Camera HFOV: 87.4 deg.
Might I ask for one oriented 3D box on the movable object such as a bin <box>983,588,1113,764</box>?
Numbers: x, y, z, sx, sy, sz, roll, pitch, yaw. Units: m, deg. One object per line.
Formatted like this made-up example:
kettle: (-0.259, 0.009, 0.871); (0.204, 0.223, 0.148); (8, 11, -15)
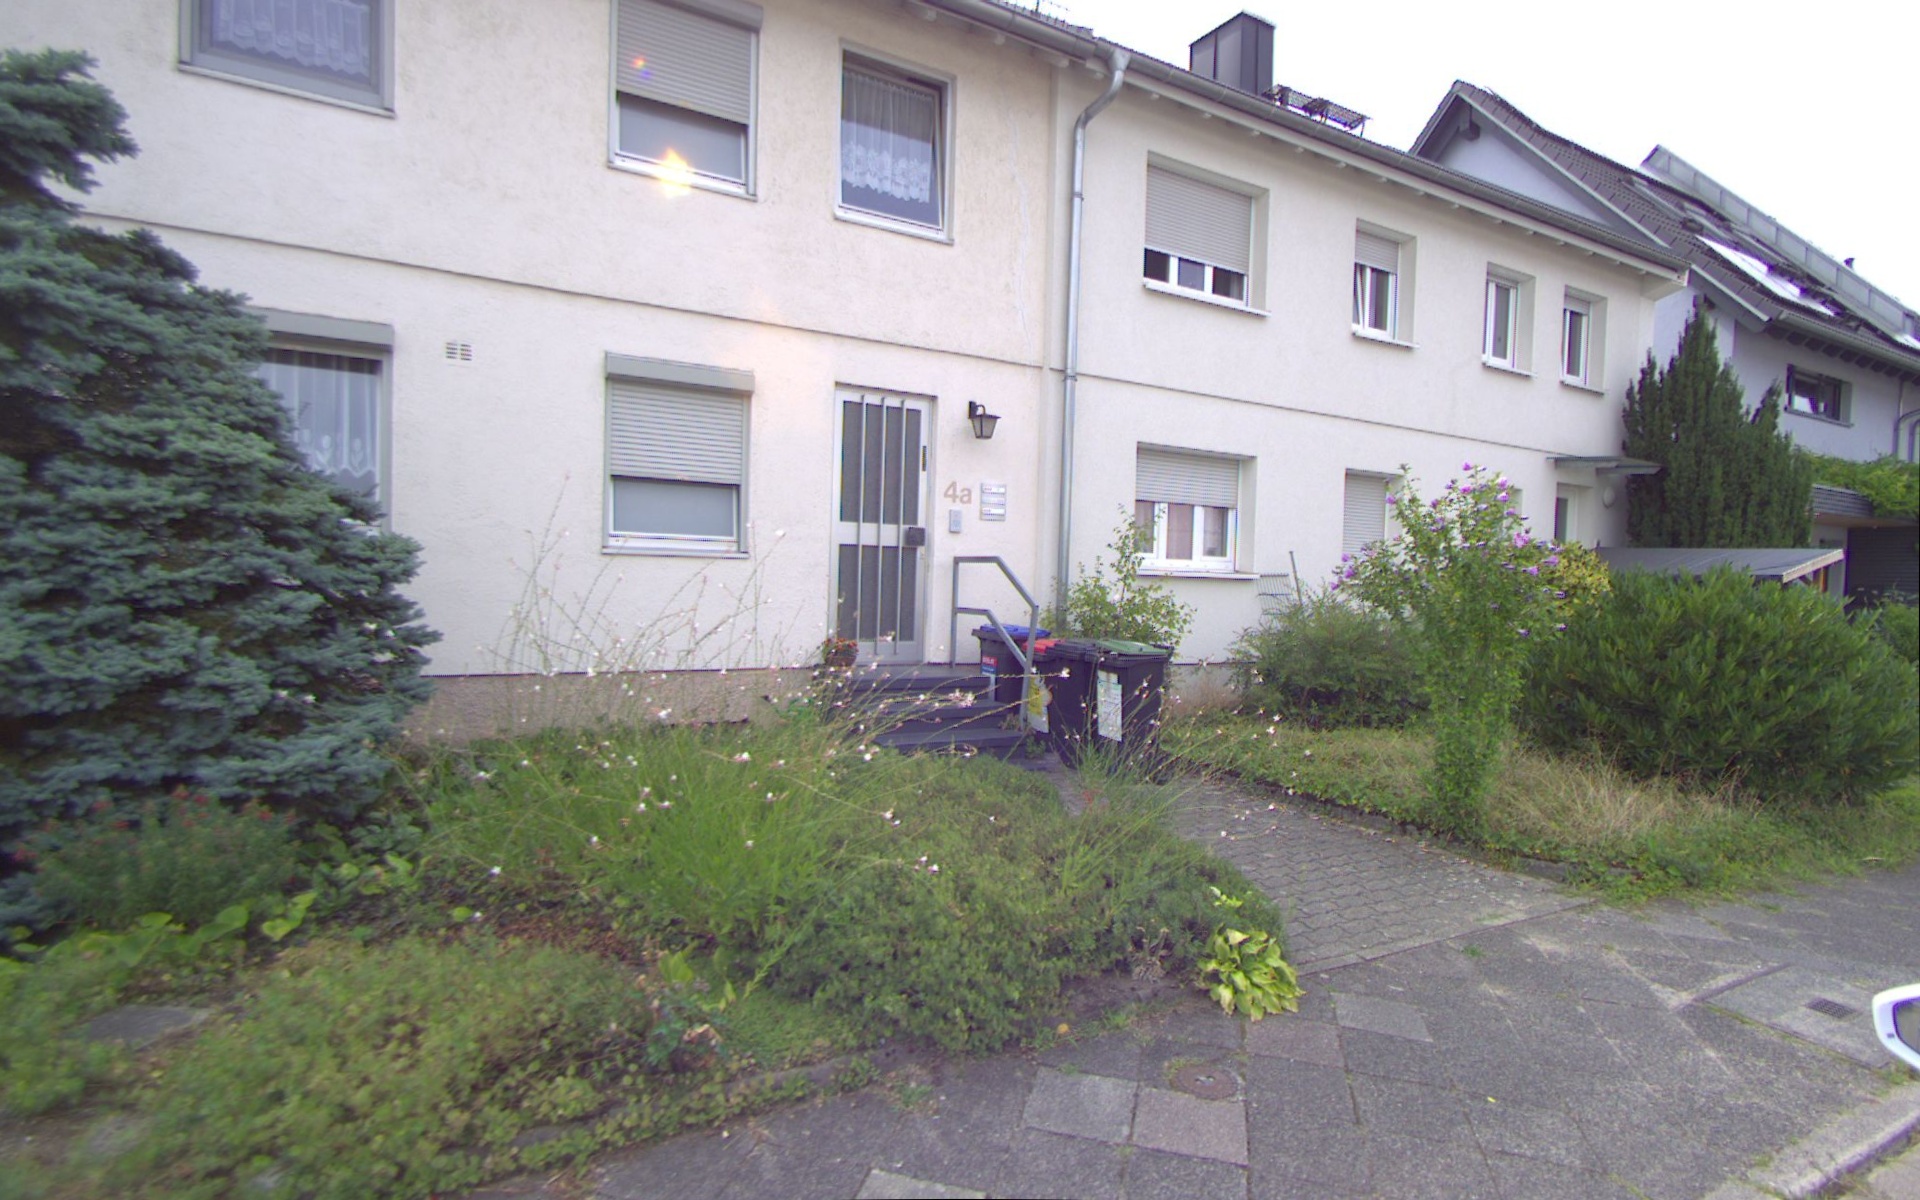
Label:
movable object such as a bin: (0.663, 0.536, 7.676); (0.725, 1.256, 0.693); (-1, 2, -30)

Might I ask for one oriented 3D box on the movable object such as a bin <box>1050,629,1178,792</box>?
movable object such as a bin: (1.062, 0.732, 6.975); (0.591, 1.021, 0.672); (-1, 2, -30)
